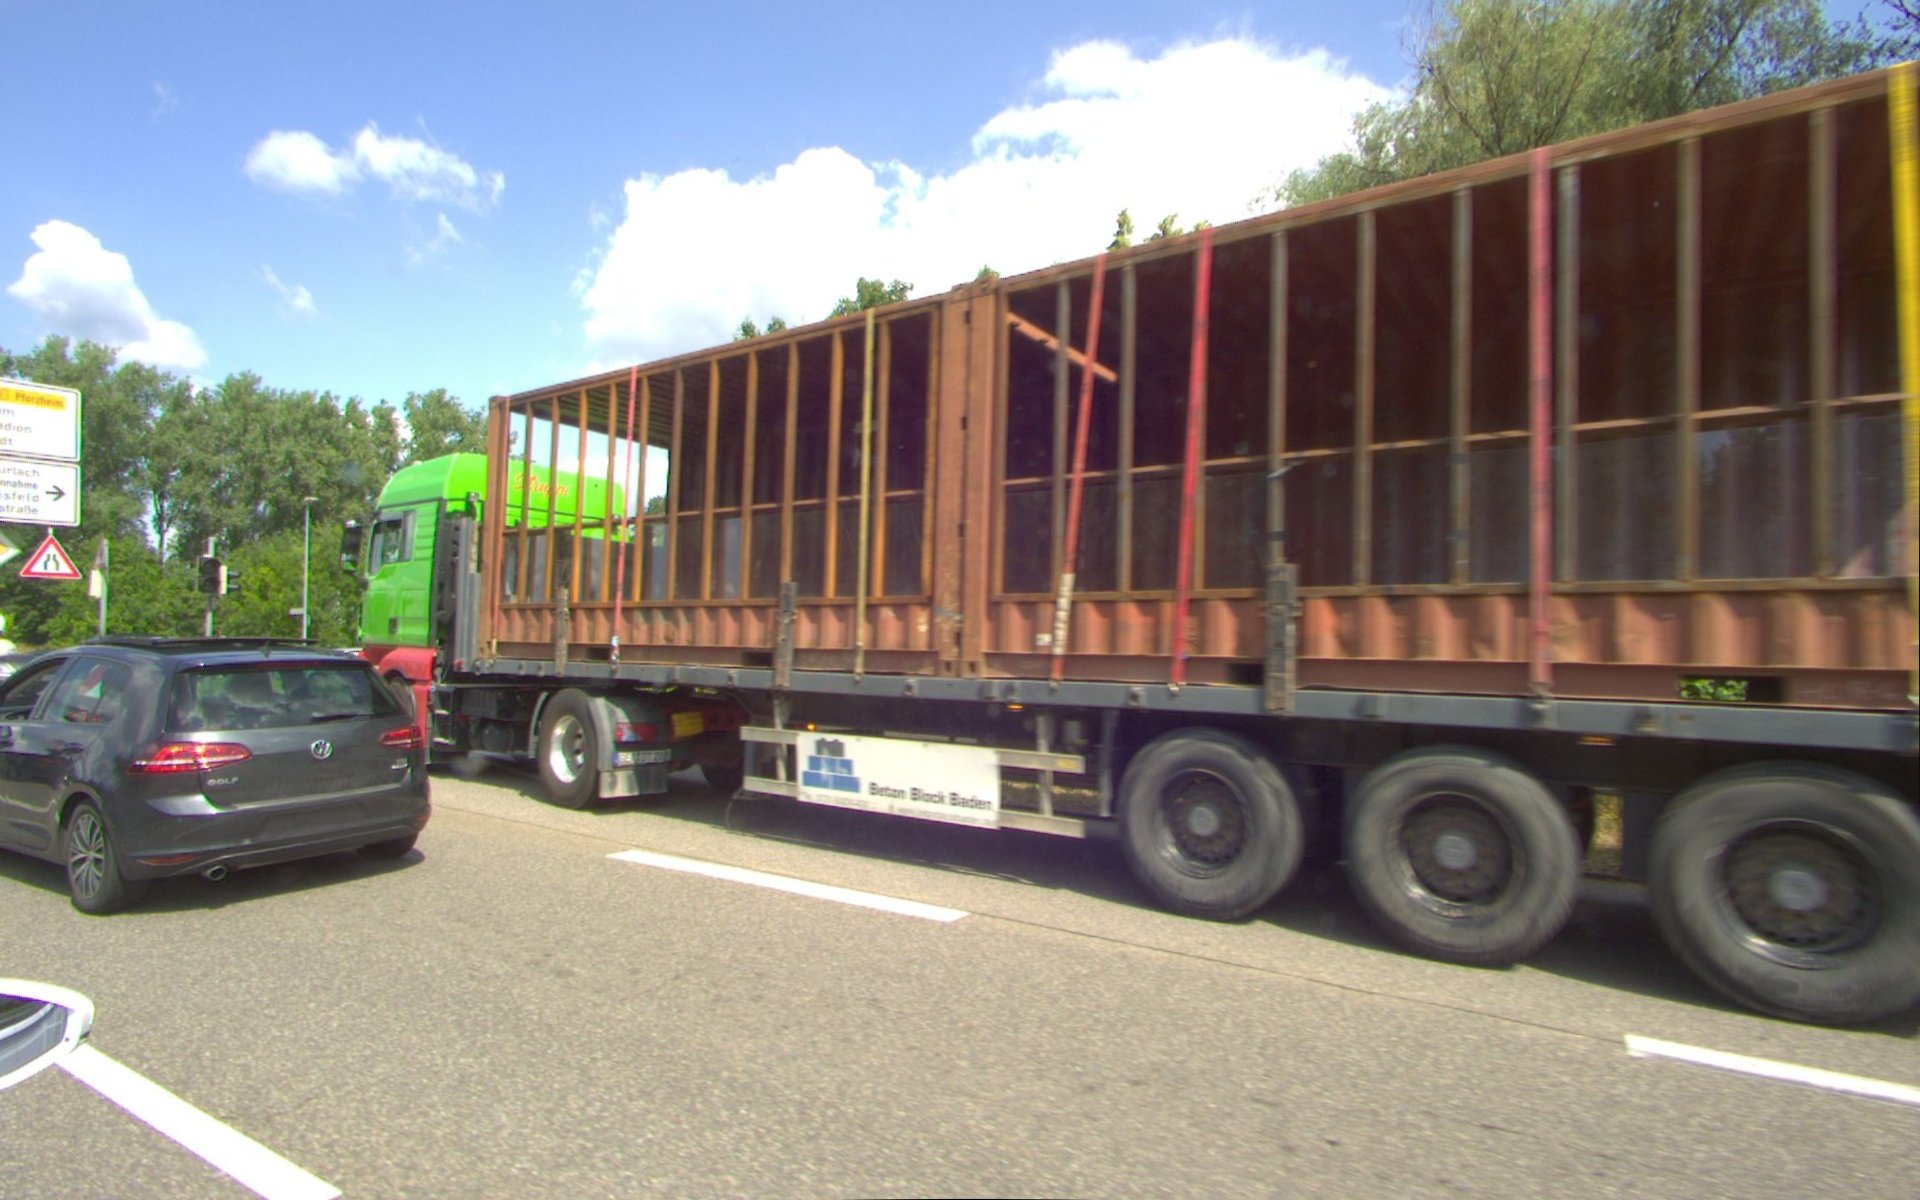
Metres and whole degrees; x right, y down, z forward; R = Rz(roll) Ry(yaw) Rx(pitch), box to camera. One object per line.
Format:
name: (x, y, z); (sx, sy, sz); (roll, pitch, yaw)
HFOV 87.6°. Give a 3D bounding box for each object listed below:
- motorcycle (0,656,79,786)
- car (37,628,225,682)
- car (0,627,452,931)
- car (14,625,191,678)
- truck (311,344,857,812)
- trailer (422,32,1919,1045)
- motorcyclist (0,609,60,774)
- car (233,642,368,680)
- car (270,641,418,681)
motorcycle: (-9.790, 1.166, 10.045); (2.365, 1.146, 0.788); (-1, -2, 33)
car: (-26.577, 1.813, 32.266); (1.818, 1.636, 4.279); (-1, -4, 30)
car: (-5.283, 0.938, 6.640); (3.815, 1.497, 1.640); (-1, -2, 31)
car: (-29.323, 1.813, 34.396); (1.810, 1.666, 4.201); (0, -4, 30)
truck: (-4.347, -0.035, 11.292); (5.799, 3.950, 2.863); (-1, -5, 35)
trailer: (0.937, -0.100, 7.425); (13.661, 3.937, 2.634); (-1, -5, 35)
motorcyclist: (-10.015, 0.913, 10.206); (1.109, 1.640, 0.964); (-1, -2, 32)
car: (-26.257, 2.446, 40.038); (1.621, 1.392, 4.201); (0, -4, 30)
car: (-23.118, 2.329, 37.771); (1.621, 1.392, 4.527); (0, -4, 30)
